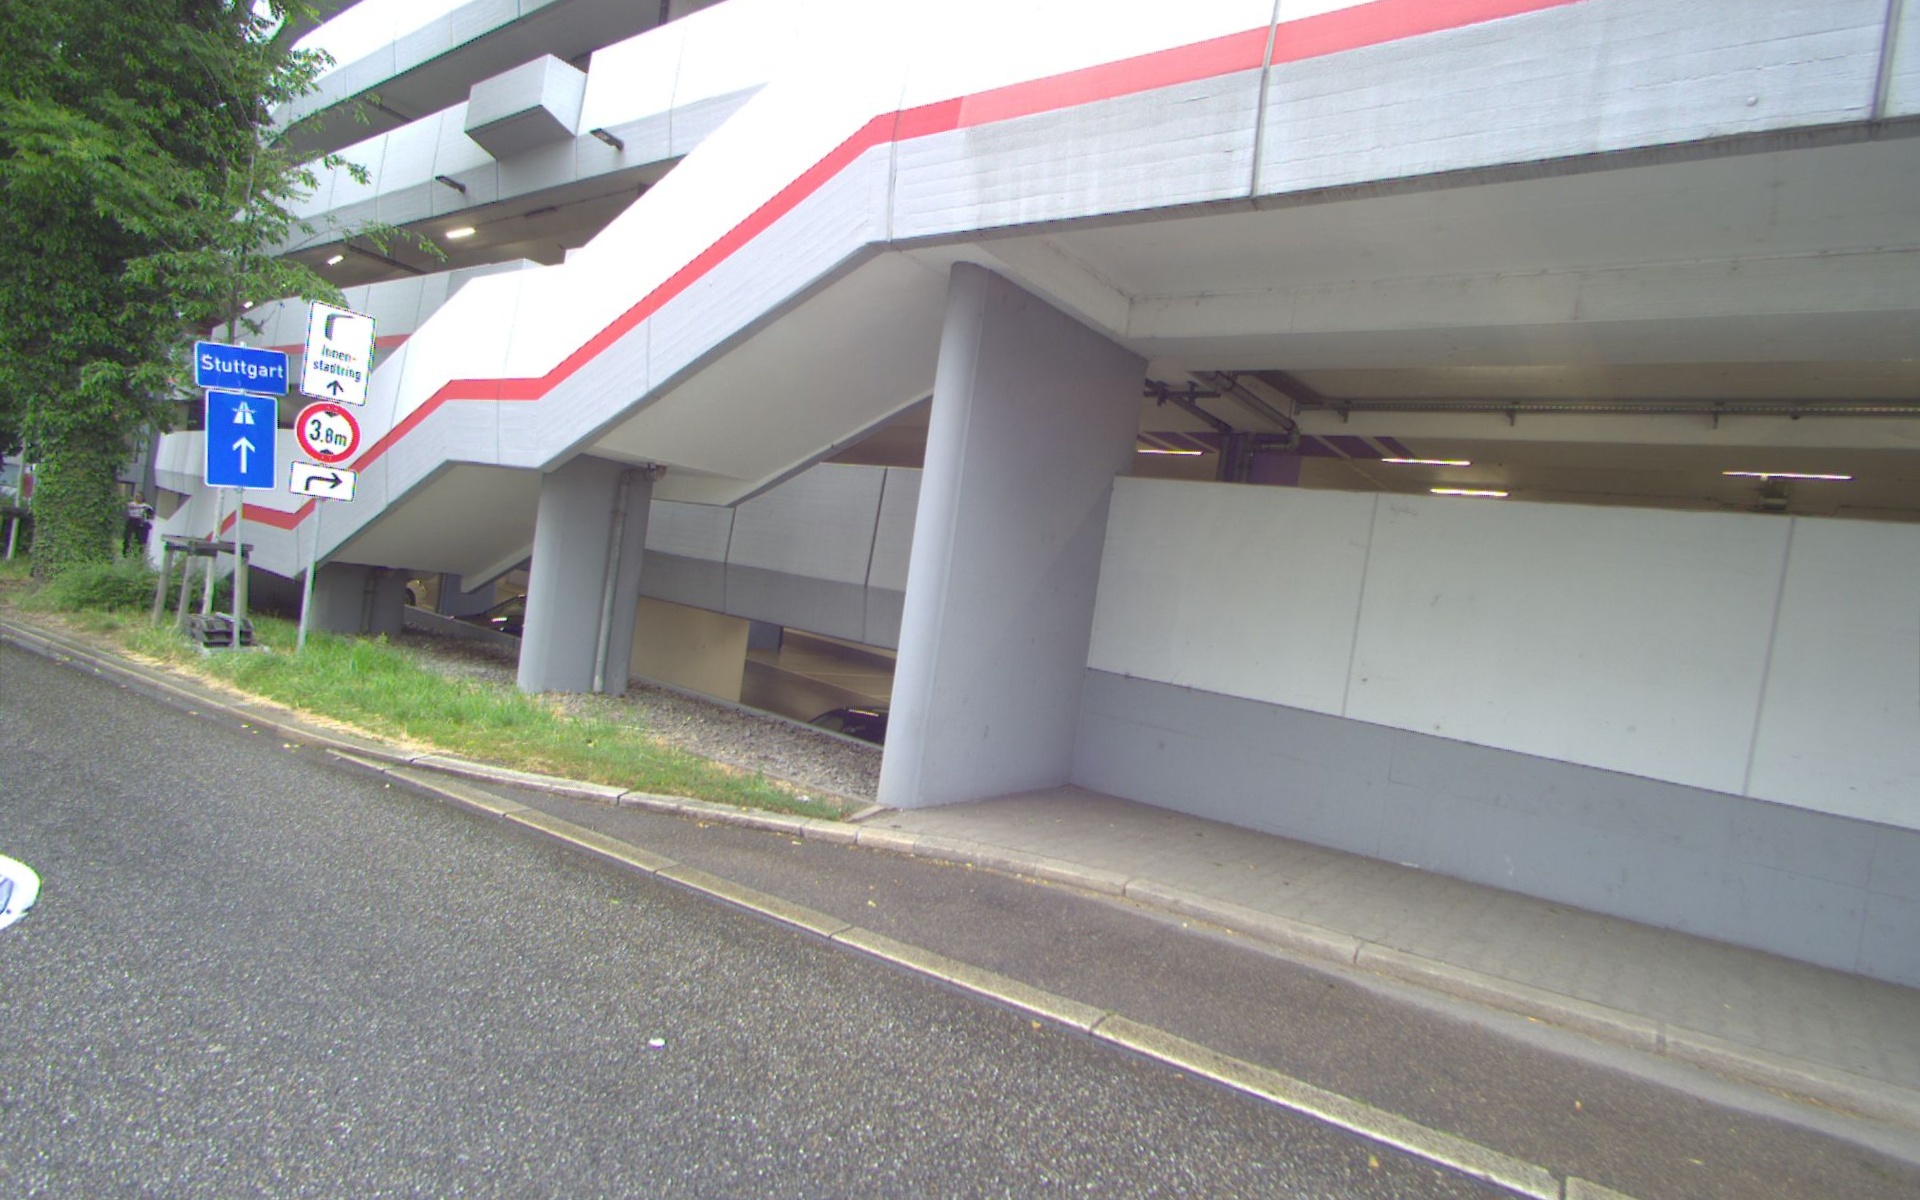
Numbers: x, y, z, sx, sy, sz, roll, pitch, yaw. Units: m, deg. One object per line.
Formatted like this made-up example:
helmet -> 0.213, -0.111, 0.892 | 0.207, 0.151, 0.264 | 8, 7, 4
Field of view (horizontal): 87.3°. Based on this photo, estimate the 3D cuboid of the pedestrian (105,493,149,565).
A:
pedestrian -> -19.091, -1.617, 23.056 | 0.481, 1.550, 0.551 | 6, -1, 38

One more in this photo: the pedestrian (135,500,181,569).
pedestrian -> -18.754, -1.530, 23.521 | 0.496, 1.519, 0.582 | 6, -1, 37
